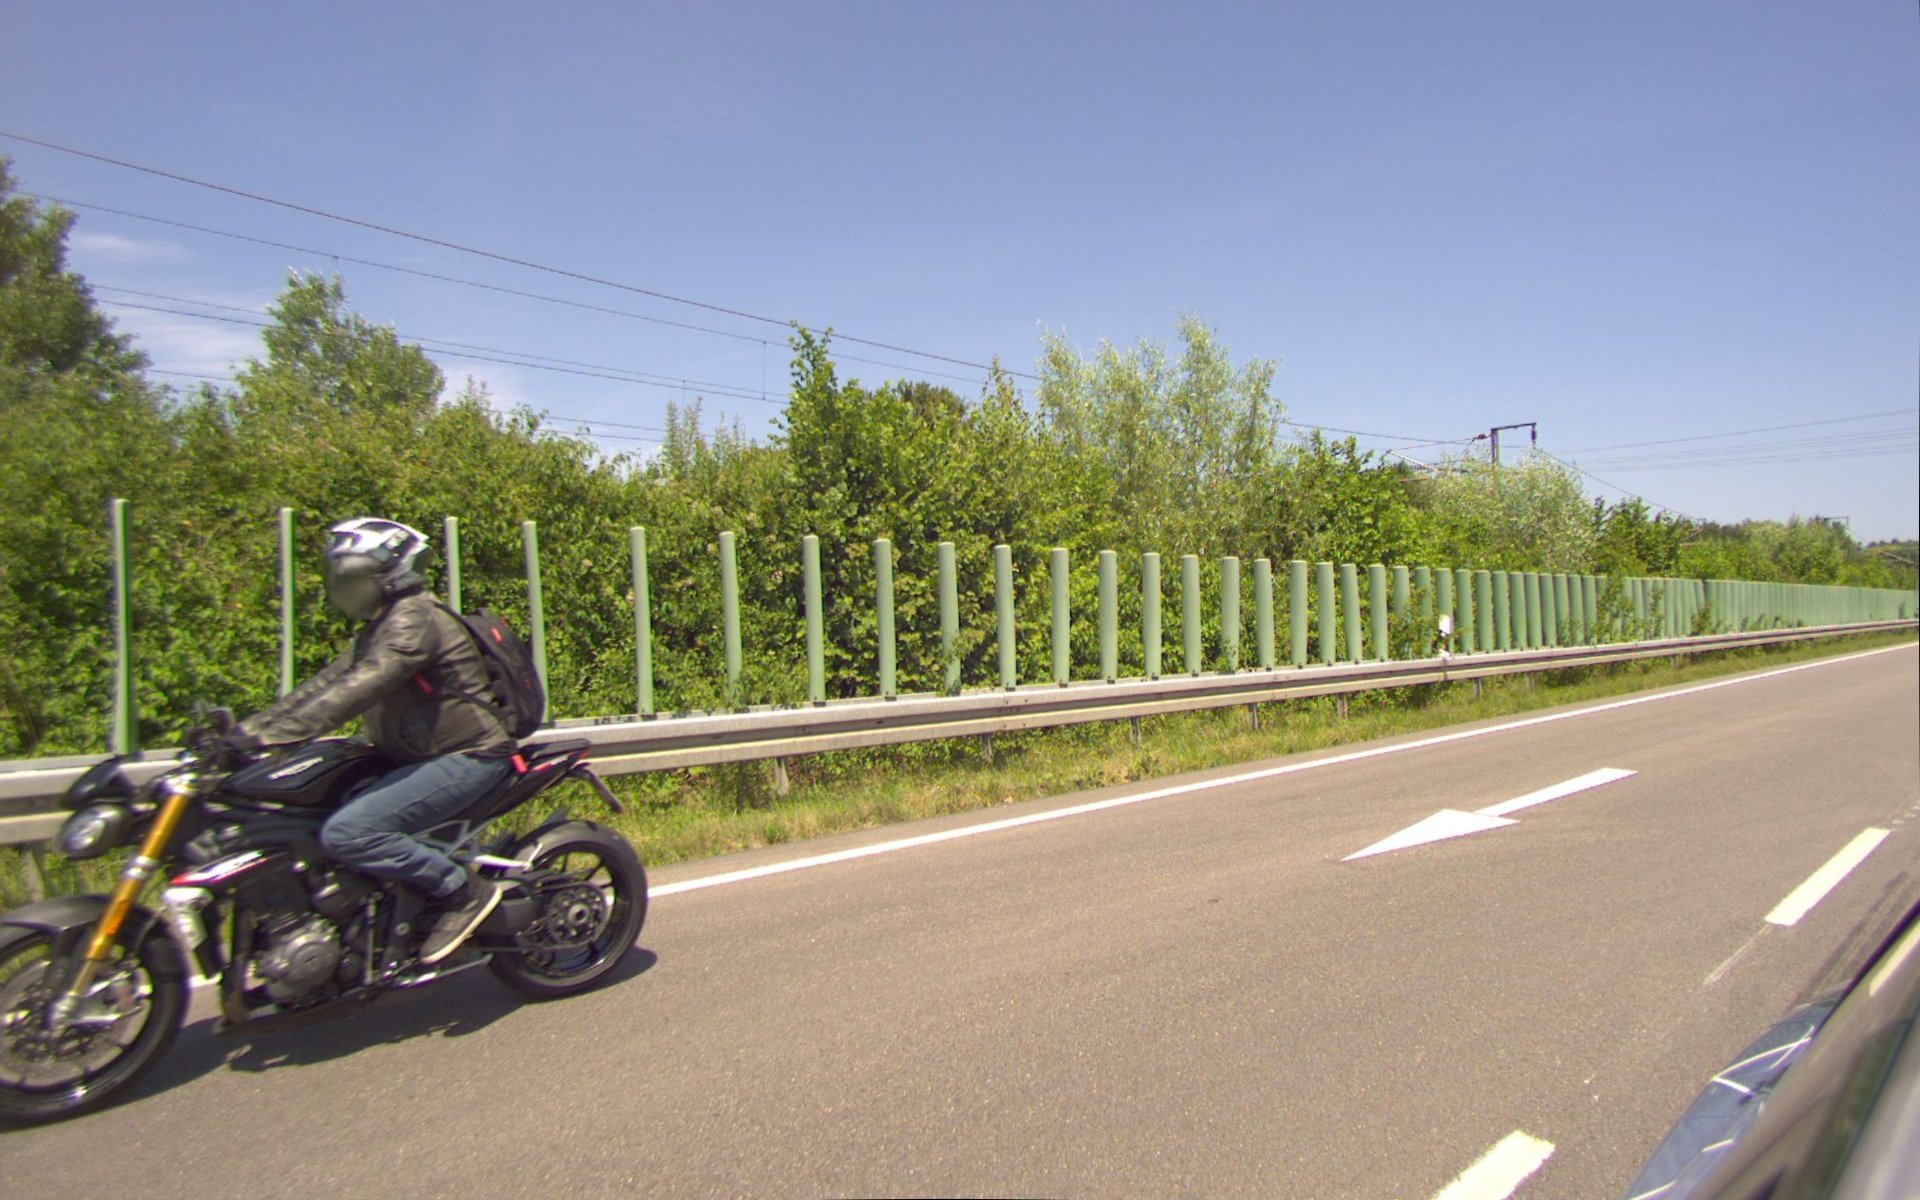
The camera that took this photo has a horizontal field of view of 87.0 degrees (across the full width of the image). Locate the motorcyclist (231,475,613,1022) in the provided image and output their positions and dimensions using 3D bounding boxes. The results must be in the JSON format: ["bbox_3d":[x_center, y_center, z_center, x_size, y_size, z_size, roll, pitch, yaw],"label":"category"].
[{"bbox_3d":[-1.826,0.400,3.427,0.984,1.495,0.891,0,0,-40],"label":"motorcyclist"}]

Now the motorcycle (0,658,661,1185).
[{"bbox_3d":[-2.006,0.821,3.229,1.868,1.172,0.791,0,-1,-41],"label":"motorcycle"}]
